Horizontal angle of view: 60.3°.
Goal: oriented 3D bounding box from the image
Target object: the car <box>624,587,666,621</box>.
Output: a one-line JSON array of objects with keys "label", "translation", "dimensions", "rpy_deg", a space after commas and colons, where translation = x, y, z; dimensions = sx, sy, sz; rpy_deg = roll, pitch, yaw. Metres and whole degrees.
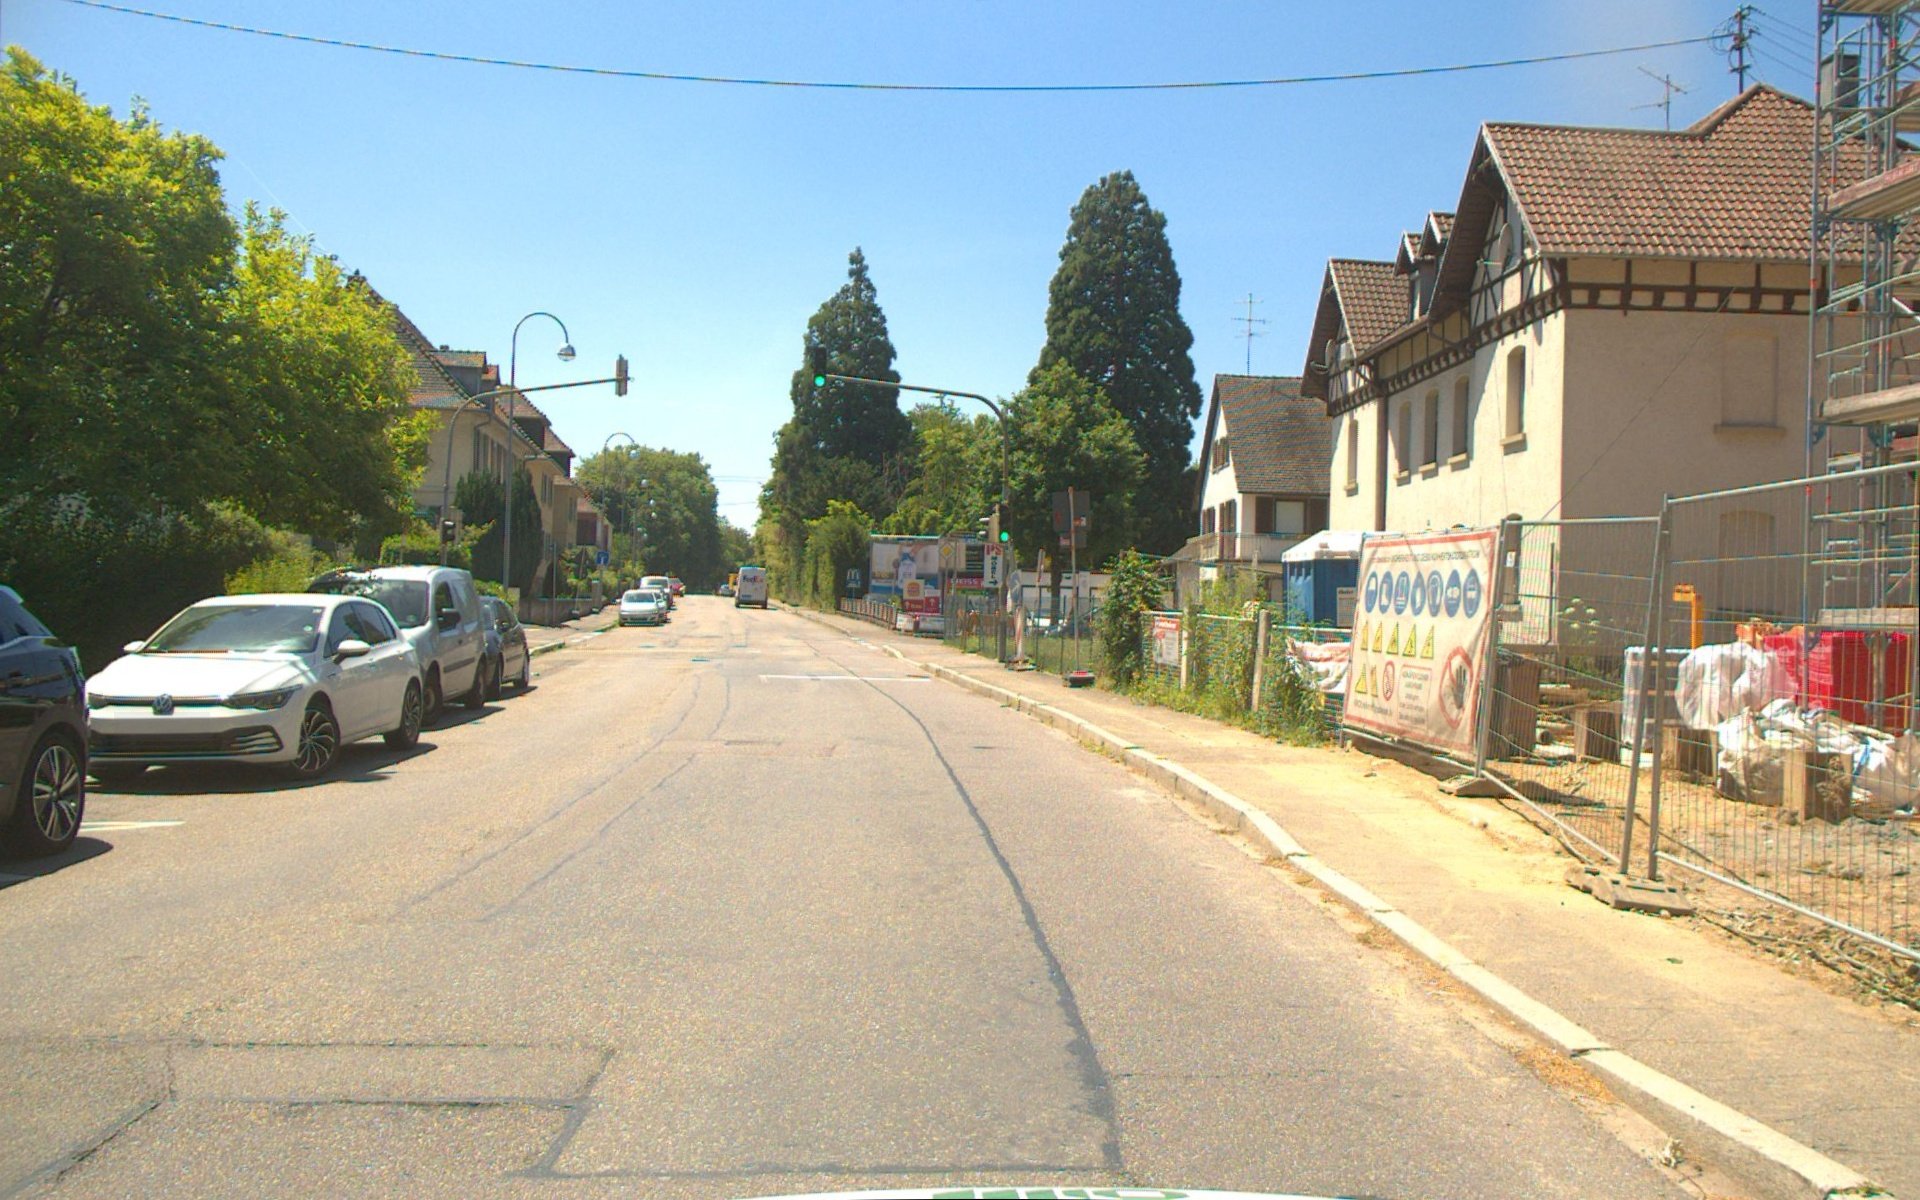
[{"label": "car", "translation": [-13.870, 0.157, 72.905], "dimensions": [1.762, 1.426, 4.208], "rpy_deg": [0, 1, -10]}]

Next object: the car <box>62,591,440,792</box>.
[{"label": "car", "translation": [-5.895, 0.662, 14.331], "dimensions": [1.647, 1.466, 4.244], "rpy_deg": [0, 0, -3]}]

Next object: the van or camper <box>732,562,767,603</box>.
[{"label": "van or camper", "translation": [-13.661, -1.115, 107.310], "dimensions": [2.219, 2.572, 4.752], "rpy_deg": [0, 0, -7]}]

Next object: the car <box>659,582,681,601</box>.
[{"label": "car", "translation": [-24.670, -0.700, 140.961], "dimensions": [1.781, 1.593, 3.689], "rpy_deg": [0, 1, -9]}]

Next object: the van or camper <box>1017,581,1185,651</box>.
[{"label": "van or camper", "translation": [4.659, 0.525, 54.538], "dimensions": [5.180, 2.049, 1.896], "rpy_deg": [3, 0, -23]}]

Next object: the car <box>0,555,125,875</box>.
[{"label": "car", "translation": [-5.780, 0.606, 7.839], "dimensions": [1.647, 1.665, 4.328], "rpy_deg": [0, 0, -3]}]

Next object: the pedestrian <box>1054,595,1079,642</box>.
[{"label": "pedestrian", "translation": [3.750, 0.660, 58.401], "dimensions": [0.682, 1.628, 0.571], "rpy_deg": [3, 0, -9]}]

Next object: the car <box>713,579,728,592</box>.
[{"label": "car", "translation": [-33.377, -1.986, 230.361], "dimensions": [1.957, 1.691, 3.991], "rpy_deg": [2, 0, -10]}]

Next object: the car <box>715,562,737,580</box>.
[{"label": "car", "translation": [-22.974, -2.862, 162.387], "dimensions": [1.957, 1.691, 3.991], "rpy_deg": [2, 0, -10]}]

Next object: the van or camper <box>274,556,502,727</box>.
[{"label": "van or camper", "translation": [-6.710, 0.429, 19.803], "dimensions": [1.648, 1.835, 3.981], "rpy_deg": [0, 0, -5]}]

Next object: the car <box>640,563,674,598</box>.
[{"label": "car", "translation": [-17.850, -1.189, 97.564], "dimensions": [1.843, 1.997, 4.616], "rpy_deg": [-1, 1, -10]}]

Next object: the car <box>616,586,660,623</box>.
[{"label": "car", "translation": [-13.191, 0.158, 67.917], "dimensions": [1.727, 1.473, 3.915], "rpy_deg": [0, 1, -10]}]

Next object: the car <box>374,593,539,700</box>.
[{"label": "car", "translation": [-7.328, 0.619, 24.408], "dimensions": [1.649, 1.437, 3.921], "rpy_deg": [0, 0, -7]}]
